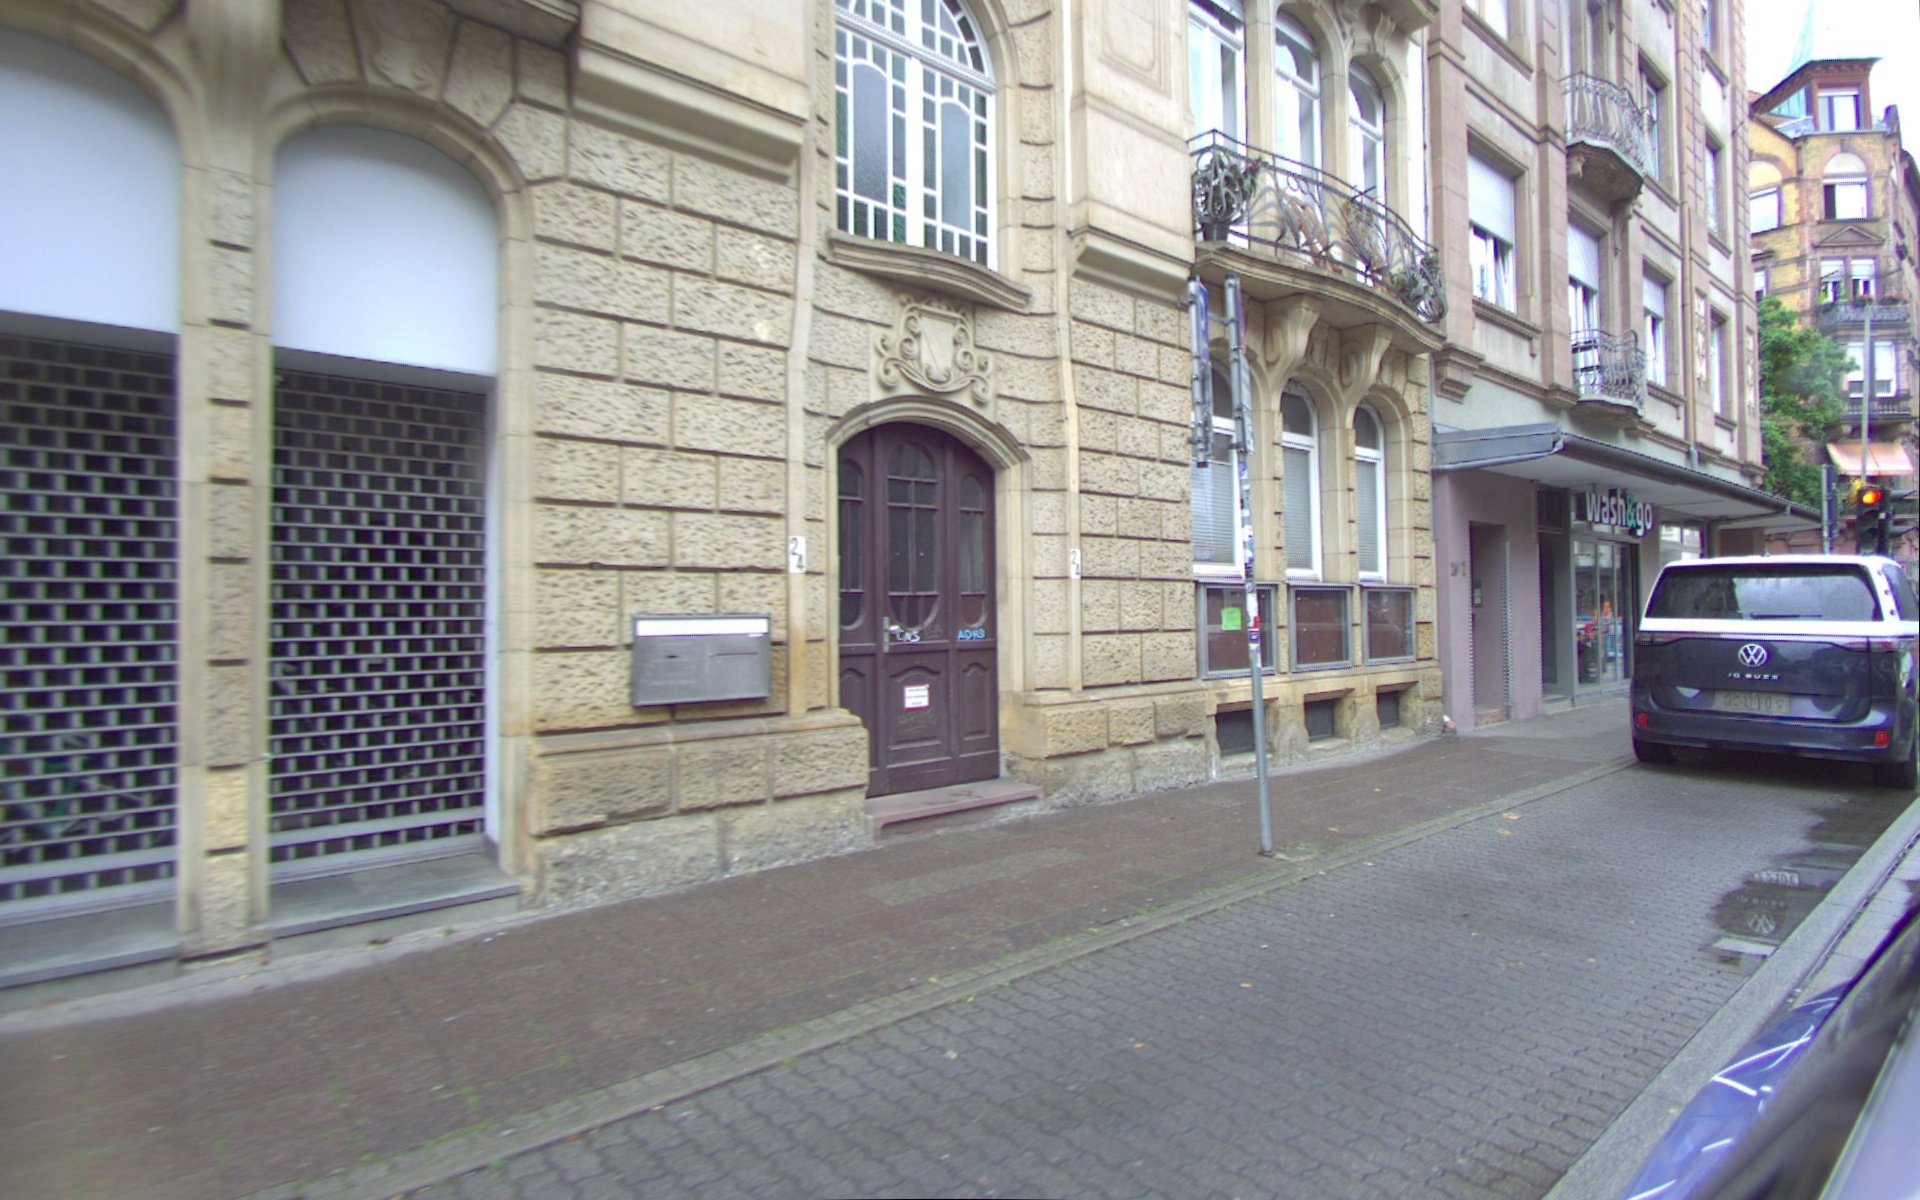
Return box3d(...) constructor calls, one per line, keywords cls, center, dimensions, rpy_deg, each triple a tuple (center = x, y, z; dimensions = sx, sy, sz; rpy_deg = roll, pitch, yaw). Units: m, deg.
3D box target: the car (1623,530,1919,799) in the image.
box3d(cls="car", center=(8.273, 0.442, 9.805), dimensions=(5.143, 1.963, 1.995), rpy_deg=(-1, 1, -44))
